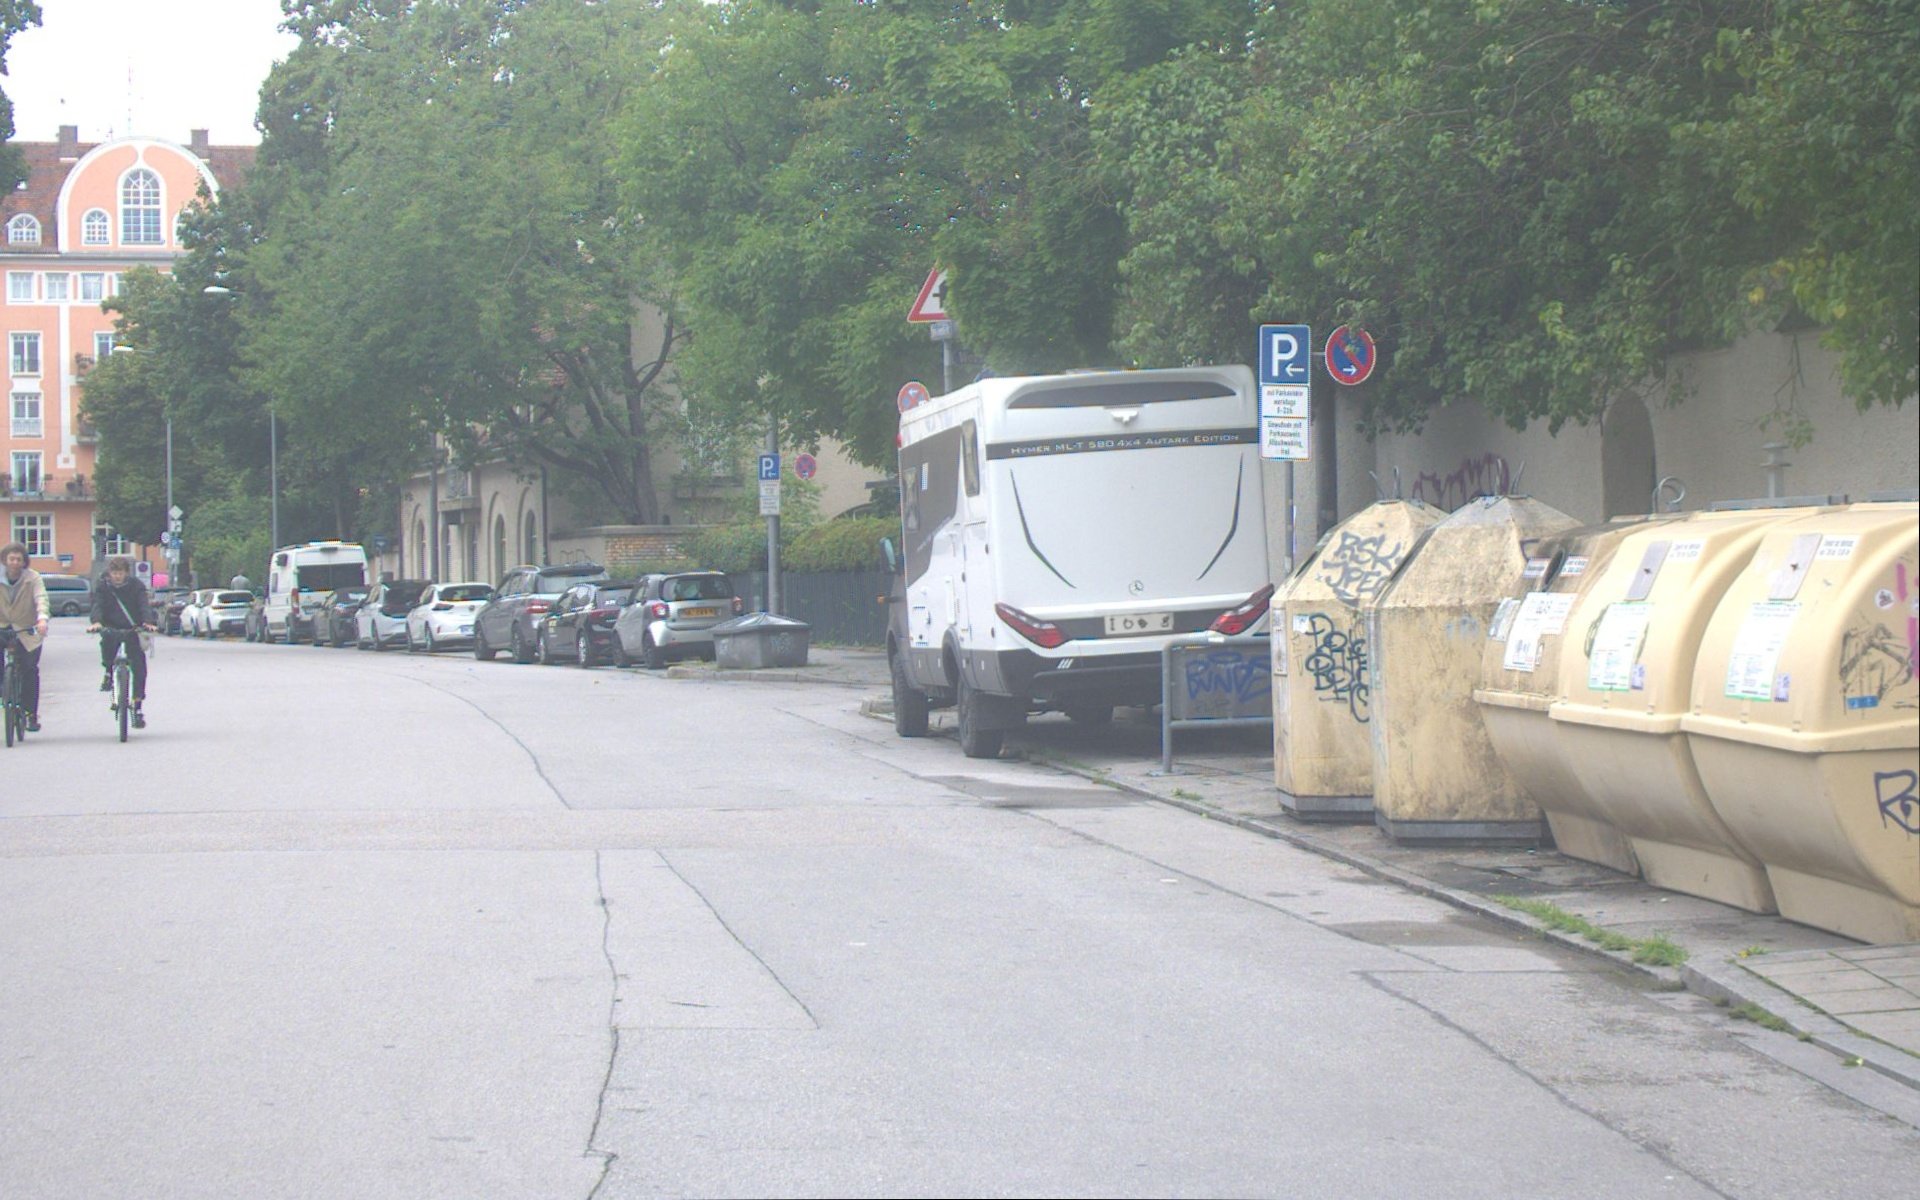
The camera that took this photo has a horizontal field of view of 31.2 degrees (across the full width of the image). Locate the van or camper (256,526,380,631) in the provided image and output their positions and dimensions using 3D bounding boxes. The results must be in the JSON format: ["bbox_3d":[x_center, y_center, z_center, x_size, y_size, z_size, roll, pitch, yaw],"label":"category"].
[{"bbox_3d":[-16.688,-0.555,89.198,2.192,2.541,5.730,-3,1,-19],"label":"van or camper"}]

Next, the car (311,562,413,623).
[{"bbox_3d":[-14.422,-0.180,82.717,1.707,1.364,4.442,-3,1,-19],"label":"car"}]

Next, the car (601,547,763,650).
[{"bbox_3d":[-4.486,-0.017,55.126,1.738,1.531,2.947,-3,0,-21],"label":"car"}]

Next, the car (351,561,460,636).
[{"bbox_3d":[-12.492,-0.044,77.251,1.707,1.532,4.241,-3,1,-18],"label":"car"}]

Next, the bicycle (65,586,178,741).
[{"bbox_3d":[-7.438,0.538,30.565,0.706,1.301,2.119,-1,1,-7],"label":"bicycle"}]

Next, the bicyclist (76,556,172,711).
[{"bbox_3d":[-7.455,0.292,30.696,0.696,1.347,0.930,-1,1,-7],"label":"bicyclist"}]

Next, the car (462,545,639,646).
[{"bbox_3d":[-7.587,-0.098,63.352,1.993,1.705,4.886,-3,1,-21],"label":"car"}]

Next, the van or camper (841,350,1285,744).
[{"bbox_3d":[0.661,-0.448,29.264,2.272,2.896,7.278,-1,1,-10],"label":"van or camper"}]

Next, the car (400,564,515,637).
[{"bbox_3d":[-10.624,0.014,72.454,1.685,1.436,4.001,-2,0,-18],"label":"car"}]

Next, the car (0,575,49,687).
[{"bbox_3d":[-14.407,0.476,44.810,4.504,1.446,1.896,-2,1,-43],"label":"car"}]

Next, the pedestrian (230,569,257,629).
[{"bbox_3d":[-24.133,-0.034,115.794,0.773,2.007,0.563,-1,0,-23],"label":"pedestrian"}]

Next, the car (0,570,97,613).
[{"bbox_3d":[-40.918,-0.373,152.963,4.702,1.874,1.841,-1,0,-20],"label":"car"}]

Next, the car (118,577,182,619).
[{"bbox_3d":[-29.449,-0.080,124.968,1.670,1.339,3.839,-3,3,-22],"label":"car"}]

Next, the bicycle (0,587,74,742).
[{"bbox_3d":[-8.390,0.556,30.573,0.707,1.301,2.119,-1,1,-8],"label":"bicycle"}]

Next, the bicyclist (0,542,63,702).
[{"bbox_3d":[-8.404,0.193,30.549,0.696,1.392,0.930,-1,1,-8],"label":"bicyclist"}]

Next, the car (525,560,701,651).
[{"bbox_3d":[-5.998,0.082,58.987,1.876,1.422,4.223,-3,1,-21],"label":"car"}]

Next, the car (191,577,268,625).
[{"bbox_3d":[-22.666,0.027,106.565,1.707,1.403,4.131,-3,1,-20],"label":"car"}]

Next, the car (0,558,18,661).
[{"bbox_3d":[-17.711,0.219,55.469,2.135,1.693,4.402,-1,0,39],"label":"car"}]
